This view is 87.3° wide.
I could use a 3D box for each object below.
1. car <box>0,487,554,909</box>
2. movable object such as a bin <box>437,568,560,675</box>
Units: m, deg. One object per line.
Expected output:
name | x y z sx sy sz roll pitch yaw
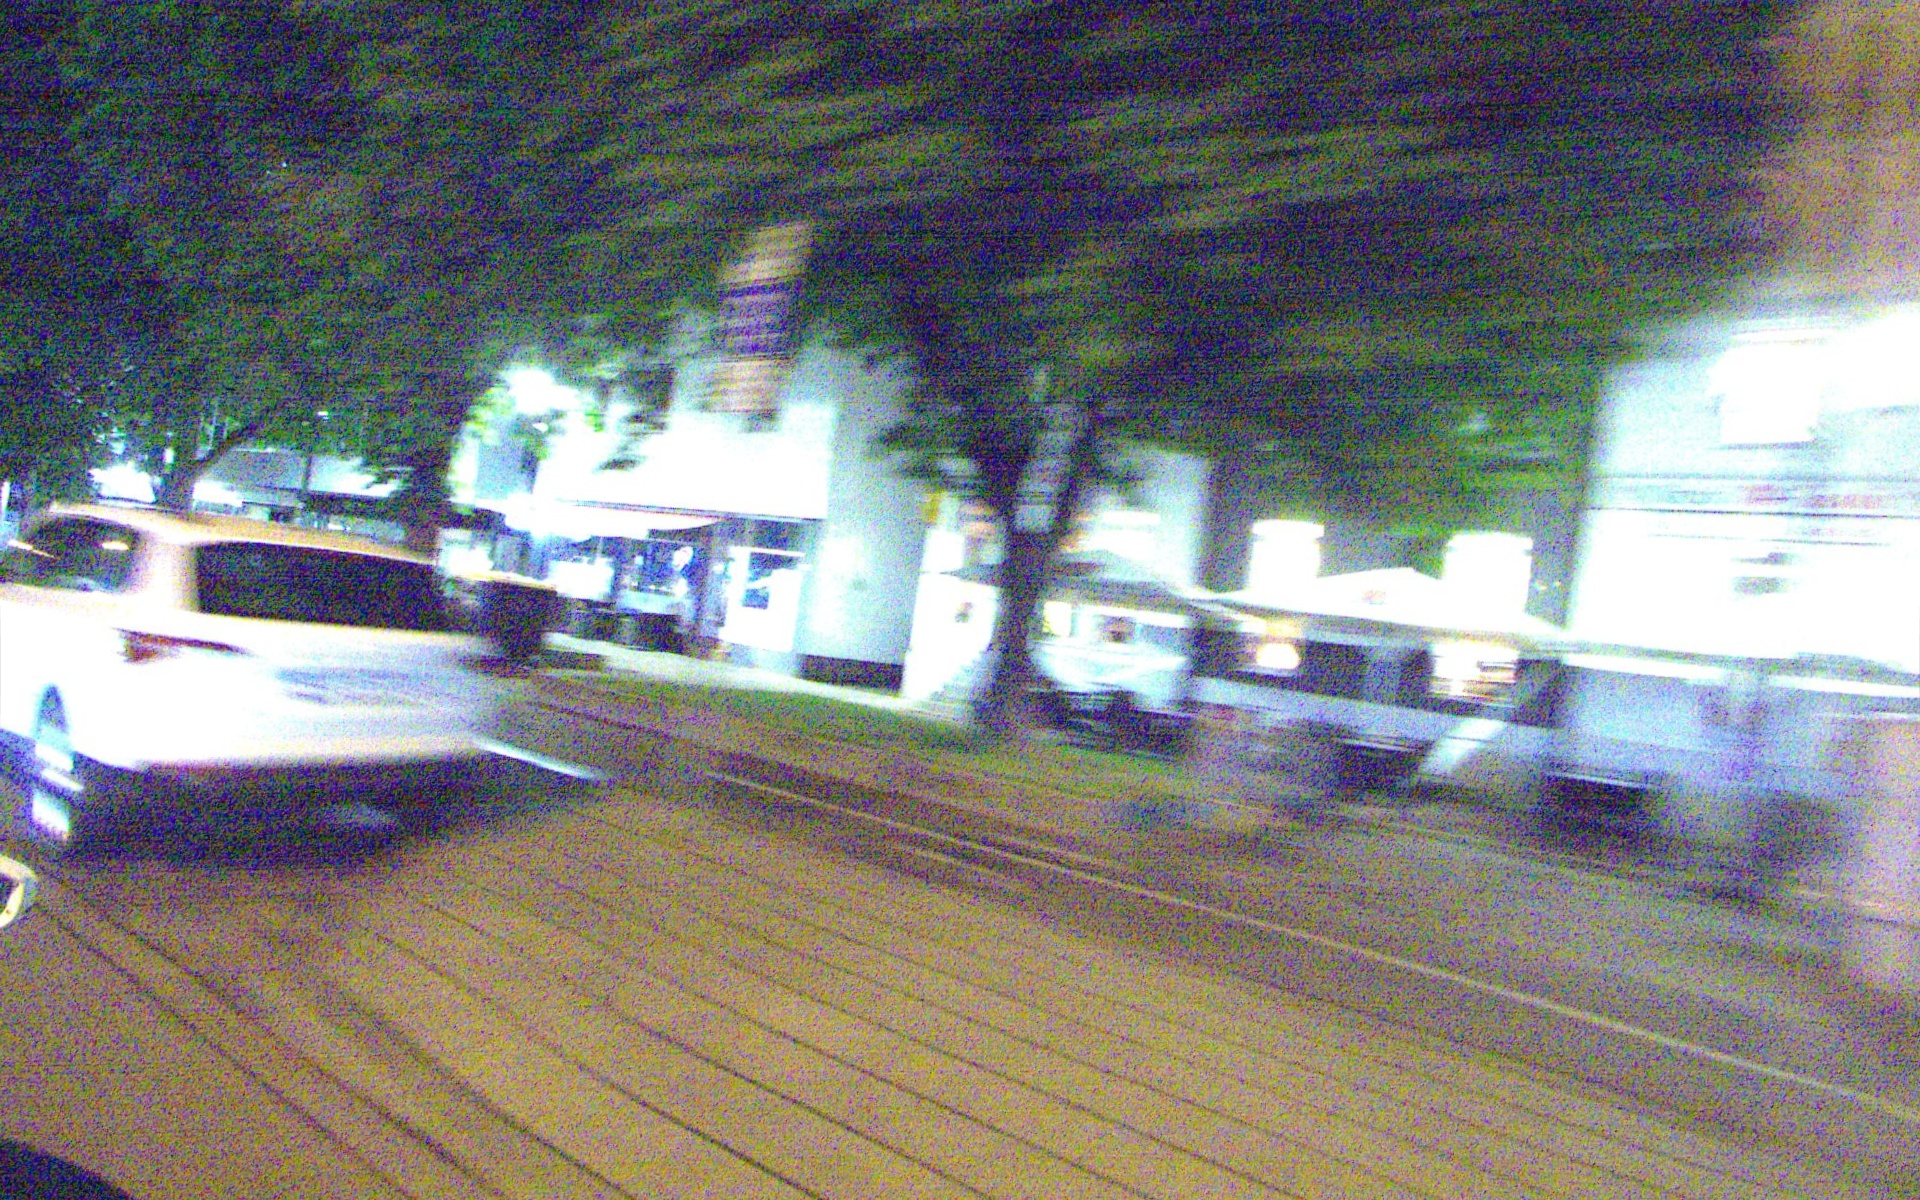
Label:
car | -4.418 0.279 5.699 4.148 1.555 1.772 6 0 33
movable object such as a bin | -6.845 0.331 14.956 0.977 1.386 1.163 7 -3 31
